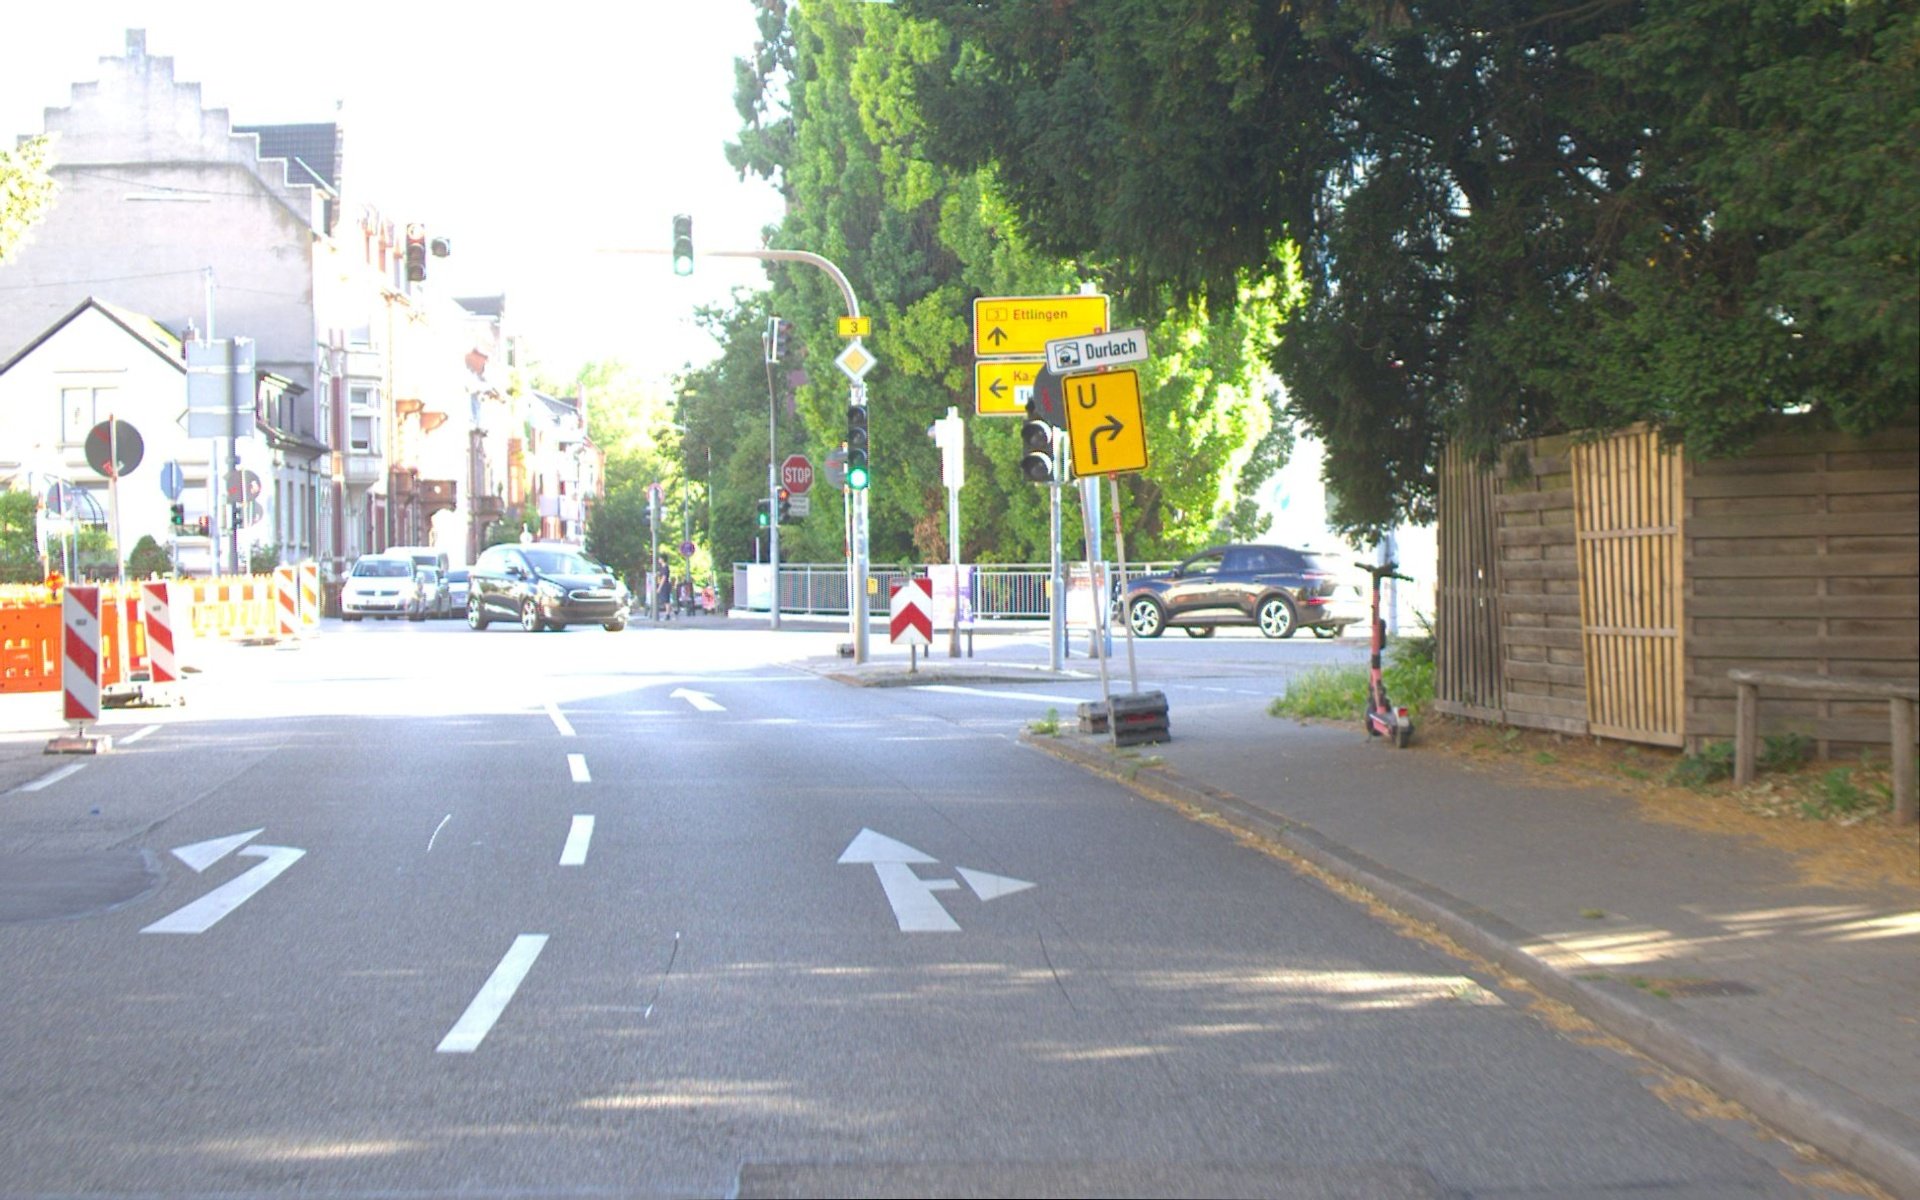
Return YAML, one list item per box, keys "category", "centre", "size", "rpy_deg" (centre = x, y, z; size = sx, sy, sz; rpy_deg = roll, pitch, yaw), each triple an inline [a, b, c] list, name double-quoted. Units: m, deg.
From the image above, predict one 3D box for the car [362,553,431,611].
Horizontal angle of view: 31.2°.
- category: "car"
  centre: [-15.149, -0.489, 92.384]
  size: [1.775, 1.475, 4.097]
  rpy_deg: [1, 1, -9]

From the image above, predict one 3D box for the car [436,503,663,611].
- category: "car"
  centre: [-7.538, -0.827, 62.944]
  size: [1.995, 1.809, 4.250]
  rpy_deg: [-4, 4, -42]

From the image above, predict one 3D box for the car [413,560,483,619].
- category: "car"
  centre: [-15.212, -0.328, 102.329]
  size: [1.775, 1.643, 4.535]
  rpy_deg: [1, 1, -5]

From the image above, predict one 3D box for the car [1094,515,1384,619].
- category: "car"
  centre: [4.814, -0.564, 59.679]
  size: [4.659, 1.664, 1.995]
  rpy_deg: [1, -2, 39]

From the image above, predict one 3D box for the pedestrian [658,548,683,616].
- category: "pedestrian"
  centre: [-7.264, -0.445, 86.270]
  size: [0.602, 1.687, 0.612]
  rpy_deg: [-1, 1, -4]

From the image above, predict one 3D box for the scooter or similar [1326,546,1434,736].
- category: "scooter or similar"
  centre: [2.783, 0.255, 22.853]
  size: [0.438, 1.198, 1.258]
  rpy_deg: [-3, 1, -3]

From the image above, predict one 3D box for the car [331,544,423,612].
- category: "car"
  centre: [-13.746, -0.535, 80.923]
  size: [1.775, 1.537, 4.001]
  rpy_deg: [1, 1, -15]
